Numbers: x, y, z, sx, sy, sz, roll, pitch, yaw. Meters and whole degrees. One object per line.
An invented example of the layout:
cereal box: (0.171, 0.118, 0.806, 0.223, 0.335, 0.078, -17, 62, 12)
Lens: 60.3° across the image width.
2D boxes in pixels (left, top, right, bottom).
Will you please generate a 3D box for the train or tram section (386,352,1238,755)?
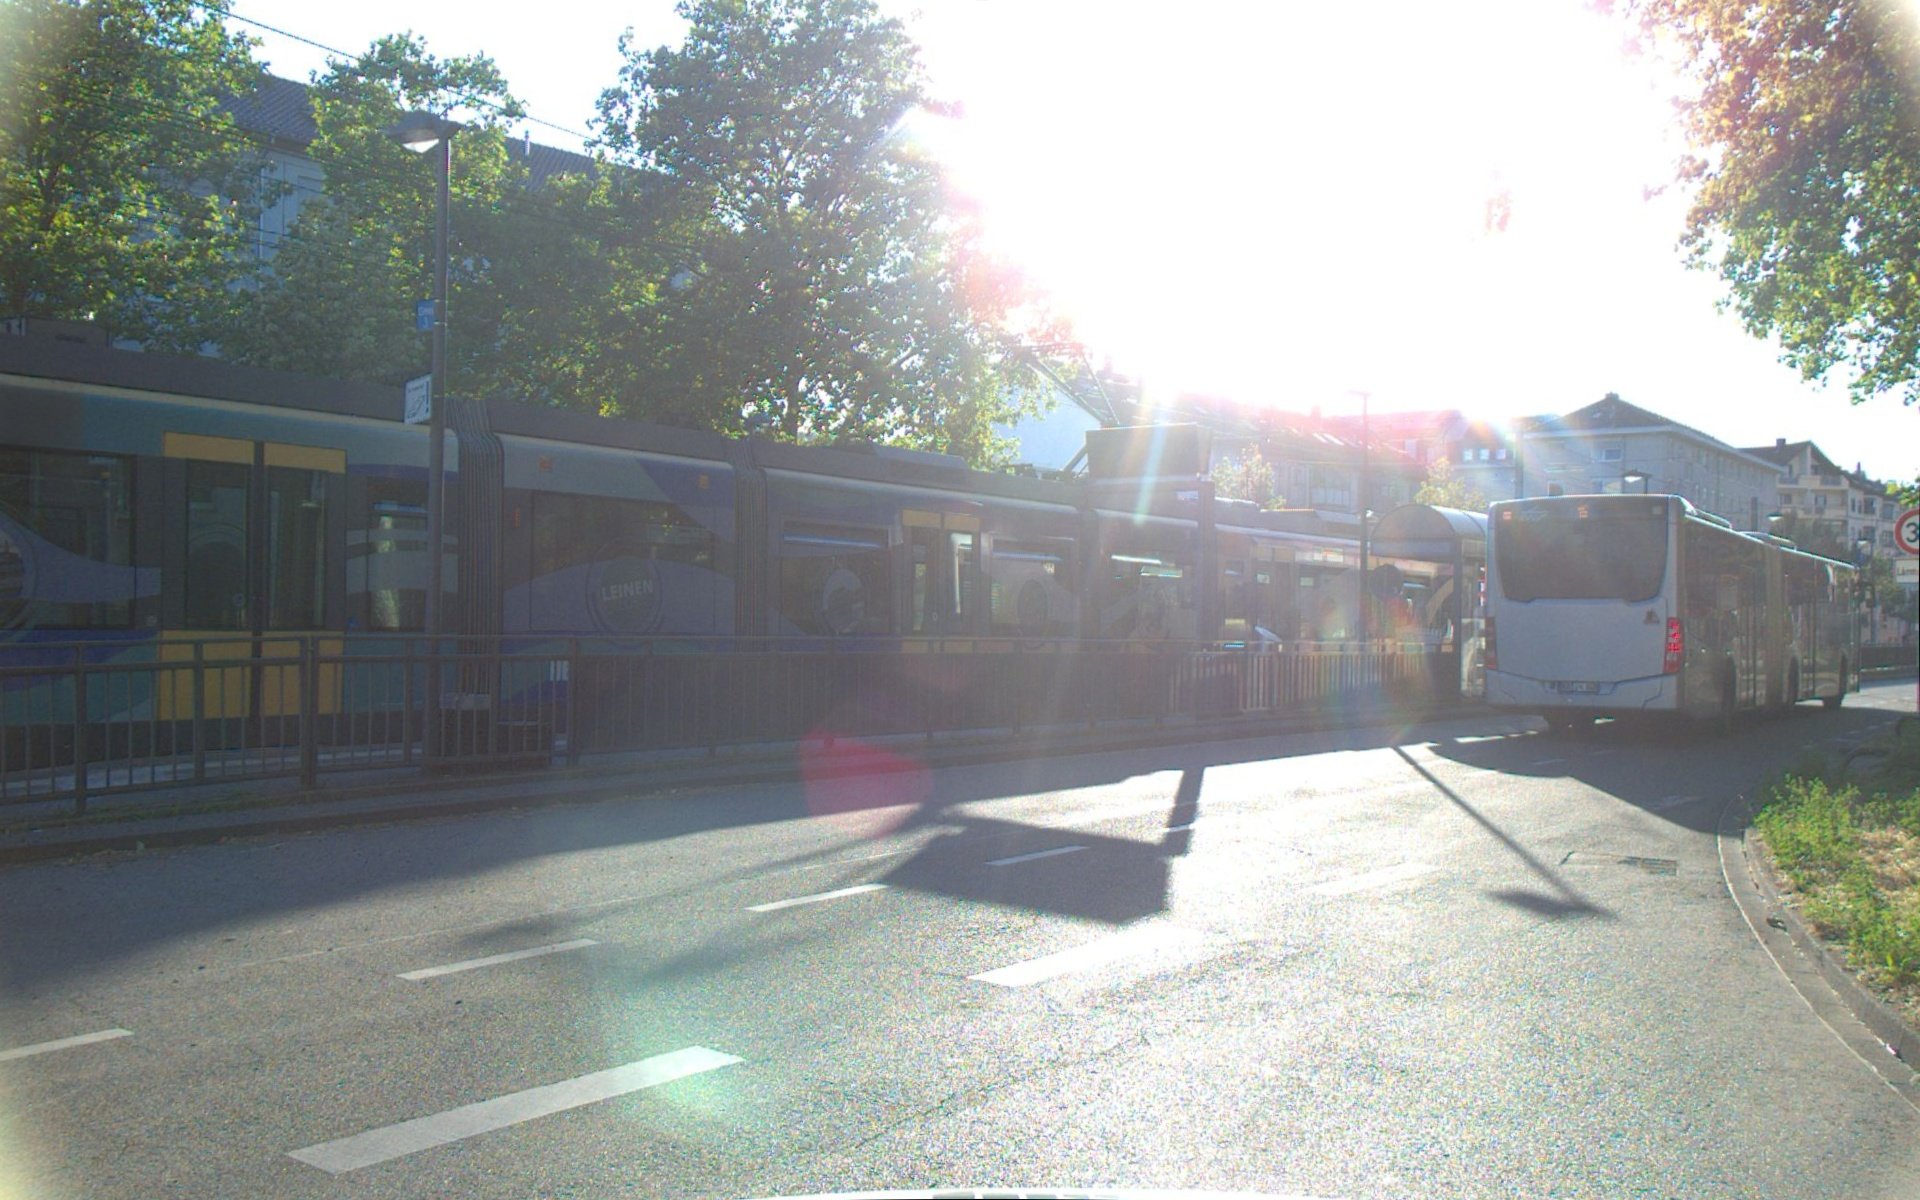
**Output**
train or tram section: (-0.759, -0.289, 20.689, 2.685, 3.611, 12.726, 0, -1, 38)

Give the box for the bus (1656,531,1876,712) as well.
bus: (16.423, 0.431, 33.306, 2.662, 3.161, 8.948, 0, -1, 35)

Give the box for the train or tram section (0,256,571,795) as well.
train or tram section: (-8.661, -0.540, 10.370, 2.804, 3.595, 13.335, 0, -1, 38)

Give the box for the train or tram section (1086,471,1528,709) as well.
train or tram section: (7.095, -0.016, 30.984, 2.598, 3.581, 13.272, 0, -1, 38)

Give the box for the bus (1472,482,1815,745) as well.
bus: (10.826, 0.236, 25.287, 2.686, 3.194, 10.666, 0, -1, 34)
